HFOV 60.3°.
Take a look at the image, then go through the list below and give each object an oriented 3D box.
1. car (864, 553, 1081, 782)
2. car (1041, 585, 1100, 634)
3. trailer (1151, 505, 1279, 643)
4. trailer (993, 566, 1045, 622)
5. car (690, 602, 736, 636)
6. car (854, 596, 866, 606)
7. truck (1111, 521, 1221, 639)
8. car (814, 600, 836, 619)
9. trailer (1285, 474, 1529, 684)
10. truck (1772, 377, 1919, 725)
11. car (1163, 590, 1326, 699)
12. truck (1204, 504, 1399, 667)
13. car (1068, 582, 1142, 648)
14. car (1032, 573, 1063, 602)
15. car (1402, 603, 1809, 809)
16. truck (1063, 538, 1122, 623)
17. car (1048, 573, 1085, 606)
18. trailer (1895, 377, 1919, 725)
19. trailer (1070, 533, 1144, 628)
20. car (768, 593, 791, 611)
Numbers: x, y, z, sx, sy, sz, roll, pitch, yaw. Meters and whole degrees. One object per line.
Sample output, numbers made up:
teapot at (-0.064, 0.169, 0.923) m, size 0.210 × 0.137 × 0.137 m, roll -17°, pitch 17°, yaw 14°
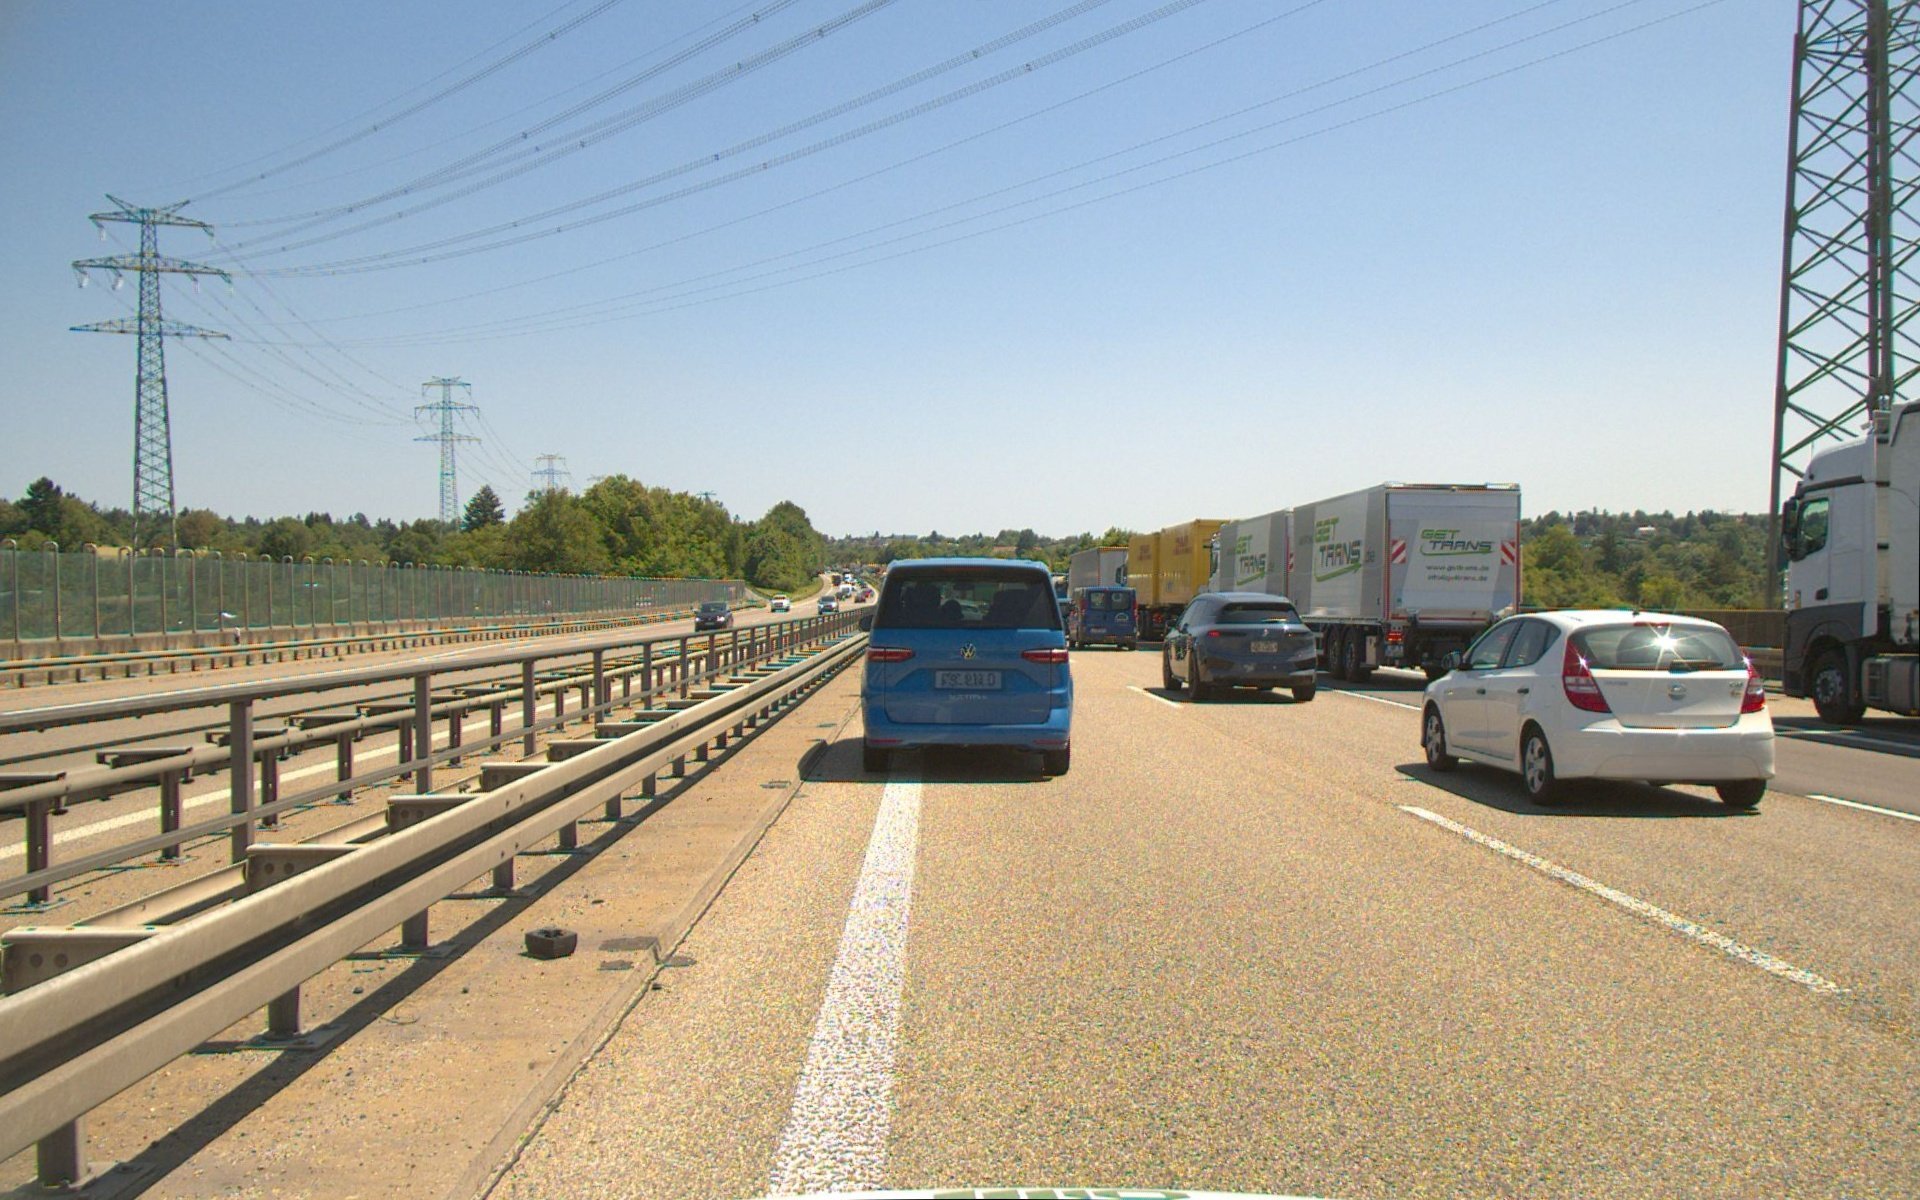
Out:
car at (0.077, 0.567, 15.880) m, size 1.783 × 1.890 × 4.074 m, roll 1°, pitch 0°, yaw -1°
car at (4.258, 0.360, 63.988) m, size 1.953 × 1.847 × 3.999 m, roll 0°, pitch 0°, yaw -1°
trailer at (8.579, -0.811, 56.831) m, size 2.806 × 4.313 × 9.009 m, roll 1°, pitch 0°, yaw -1°
trailer at (3.410, -0.301, 97.470) m, size 2.517 × 3.043 × 10.660 m, roll 1°, pitch 0°, yaw -1°
car at (-13.353, 1.013, 89.555) m, size 1.953 × 1.701 × 4.185 m, roll -2°, pitch 0°, yaw -2°
car at (-14.453, 0.113, 239.204) m, size 1.565 × 1.341 × 4.340 m, roll -2°, pitch 0°, yaw -2°
truck at (8.146, -0.742, 66.871) m, size 2.778 × 4.317 × 11.007 m, roll 1°, pitch 0°, yaw -1°
car at (-12.459, 0.861, 153.158) m, size 1.769 × 1.656 × 4.476 m, roll 1°, pitch 0°, yaw -1°
trailer at (8.847, -0.391, 33.796) m, size 2.643 × 3.765 × 8.012 m, roll 0°, pitch 0°, yaw -1°
truck at (12.924, -0.577, 20.459) m, size 2.638 × 4.214 × 6.157 m, roll 1°, pitch 0°, yaw -1°
car at (4.639, 0.673, 27.564) m, size 1.922 × 1.673 × 4.292 m, roll 0°, pitch 0°, yaw -1°
truck at (8.618, -0.344, 43.298) m, size 2.603 × 3.712 × 11.007 m, roll 0°, pitch 0°, yaw -1°
car at (4.594, 0.459, 53.040) m, size 1.922 × 2.028 × 4.292 m, roll 0°, pitch 0°, yaw -1°
car at (6.445, -0.899, 121.995) m, size 1.953 × 2.049 × 4.460 m, roll -1°, pitch 0°, yaw -1°
car at (5.278, 0.776, 14.190) m, size 1.752 × 1.481 × 4.292 m, roll 0°, pitch 0°, yaw -1°
truck at (7.429, -1.043, 93.470) m, size 2.613 × 4.563 × 6.848 m, roll 1°, pitch 0°, yaw -1°
car at (6.681, -0.636, 104.205) m, size 1.953 × 2.049 × 3.999 m, roll 1°, pitch 0°, yaw -1°
trailer at (13.041, -0.579, 13.796) m, size 2.659 × 4.214 × 13.422 m, roll 1°, pitch 0°, yaw -1°
trailer at (7.541, -0.985, 86.342) m, size 2.583 × 4.595 × 11.298 m, roll 1°, pitch 0°, yaw -1°
car at (-19.933, 0.211, 182.863) m, size 1.953 × 1.918 × 5.254 m, roll 2°, pitch 0°, yaw -2°
